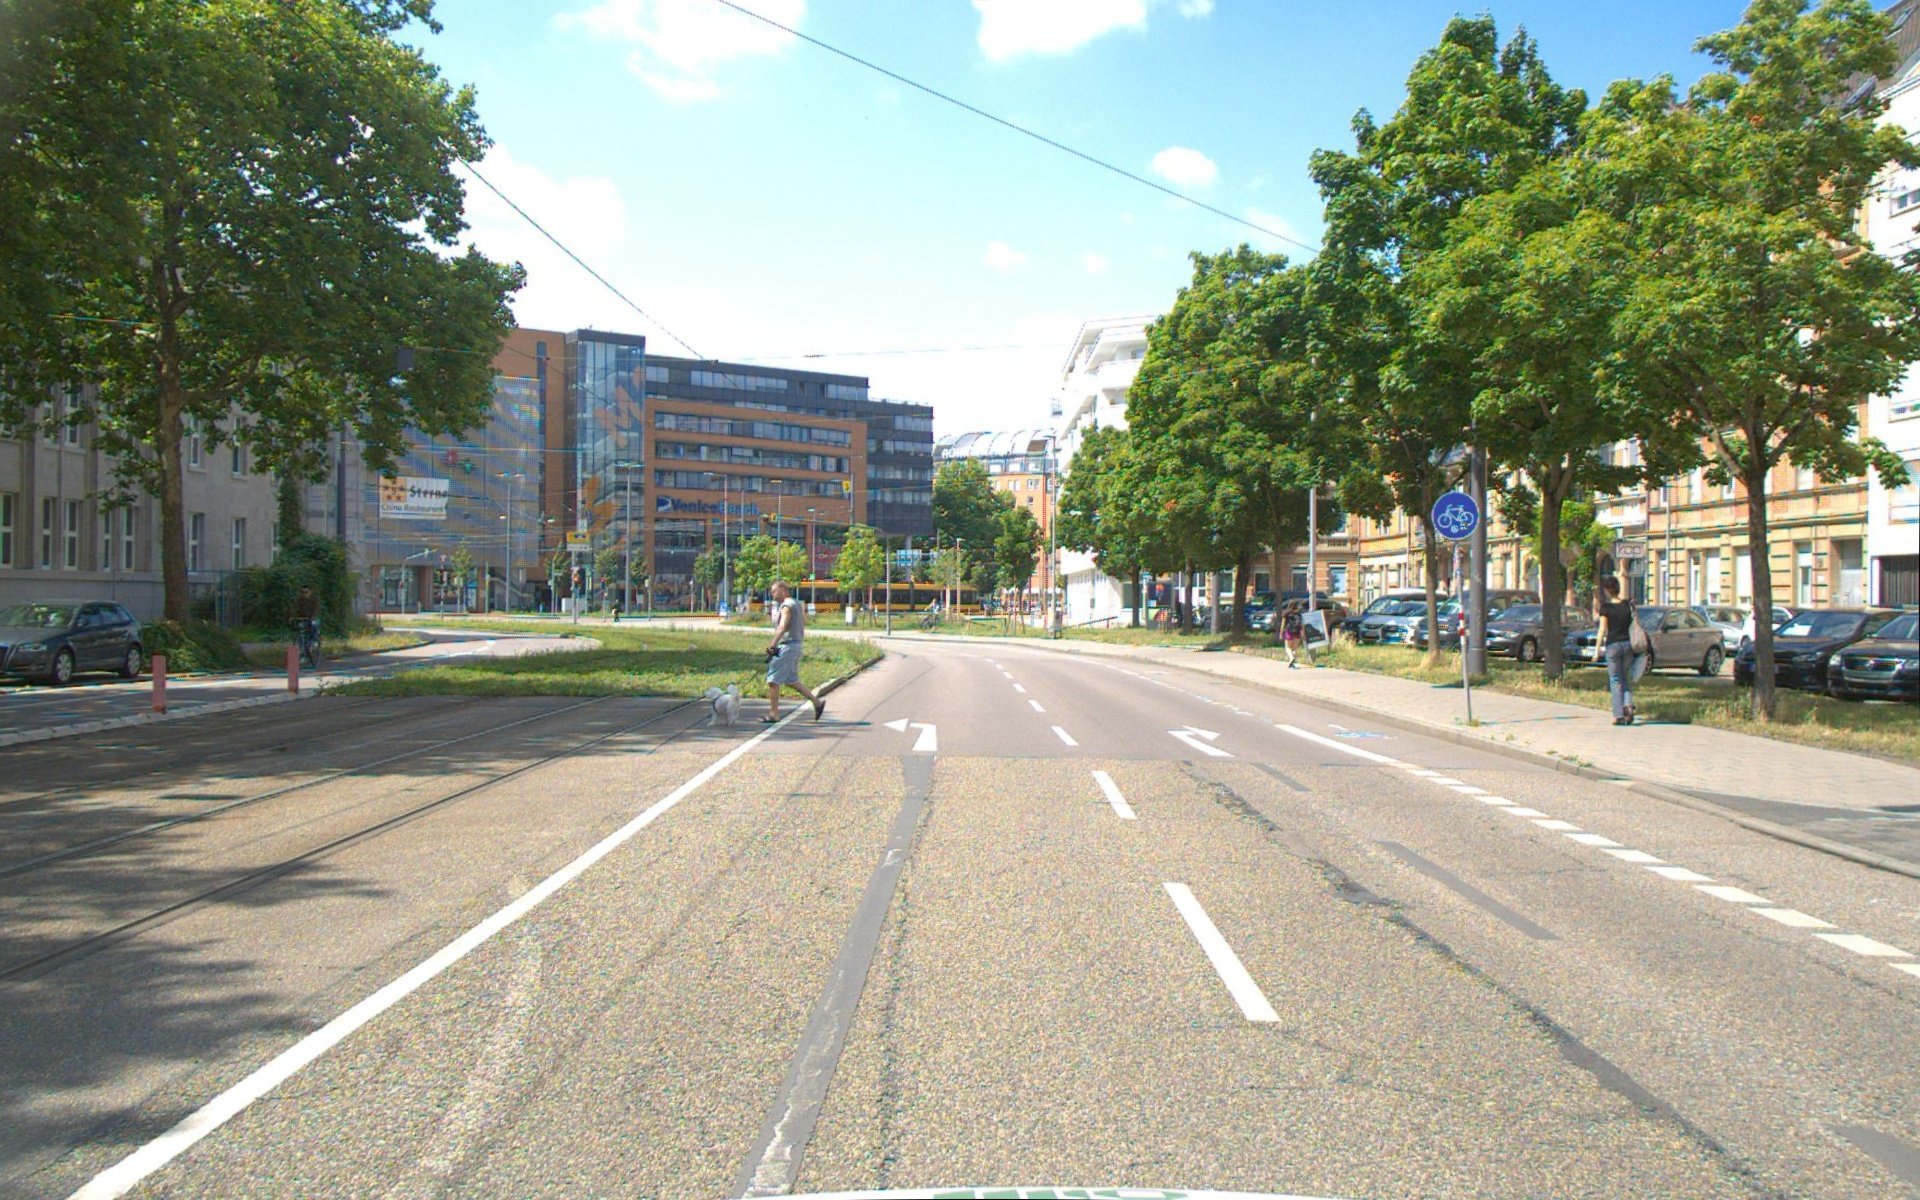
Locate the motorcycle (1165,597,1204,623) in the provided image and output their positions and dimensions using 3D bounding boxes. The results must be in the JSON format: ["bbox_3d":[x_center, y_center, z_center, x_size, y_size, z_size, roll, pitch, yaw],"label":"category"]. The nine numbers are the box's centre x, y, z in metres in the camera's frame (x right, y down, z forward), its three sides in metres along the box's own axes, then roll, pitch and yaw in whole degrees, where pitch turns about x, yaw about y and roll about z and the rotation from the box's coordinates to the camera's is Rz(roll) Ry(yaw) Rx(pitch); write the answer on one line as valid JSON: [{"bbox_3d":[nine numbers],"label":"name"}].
[{"bbox_3d":[10.756,0.479,79.303,1.747,1.187,0.639,1,0,-2],"label":"motorcycle"}]

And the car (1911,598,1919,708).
[{"bbox_3d":[14.193,0.727,20.765,3.933,1.378,1.948,2,0,-23],"label":"car"}]

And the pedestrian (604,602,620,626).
[{"bbox_3d":[-26.329,1.051,125.203,0.897,1.732,0.808,0,1,24],"label":"pedestrian"}]

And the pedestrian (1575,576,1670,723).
[{"bbox_3d":[8.060,0.586,20.158,0.686,1.734,1.044,-2,0,-1],"label":"pedestrian"}]

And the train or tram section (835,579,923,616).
[{"bbox_3d":[-8.545,-0.277,176.398,3.005,3.666,10.946,1,0,37],"label":"train or tram section"}]

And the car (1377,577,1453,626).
[{"bbox_3d":[21.624,0.079,78.814,2.067,2.216,5.393,2,0,0],"label":"car"}]

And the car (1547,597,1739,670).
[{"bbox_3d":[14.332,0.716,34.631,4.223,1.404,1.828,2,0,-37],"label":"car"}]

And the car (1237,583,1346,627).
[{"bbox_3d":[13.578,0.203,67.720,4.112,1.685,1.900,2,0,-28],"label":"car"}]

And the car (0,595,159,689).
[{"bbox_3d":[-15.985,0.672,28.992,1.887,1.393,4.316,2,1,-2],"label":"car"}]

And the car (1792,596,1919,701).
[{"bbox_3d":[14.335,0.714,24.453,3.951,1.404,1.939,2,0,-34],"label":"car"}]

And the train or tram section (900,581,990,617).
[{"bbox_3d":[-1.574,-0.050,185.999,3.005,3.684,12.584,1,0,36],"label":"train or tram section"}]

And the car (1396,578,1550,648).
[{"bbox_3d":[13.977,0.357,44.962,4.319,1.771,1.828,2,0,-37],"label":"car"}]

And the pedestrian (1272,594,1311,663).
[{"bbox_3d":[7.893,0.671,39.431,0.686,1.620,0.905,2,0,-1],"label":"pedestrian"}]

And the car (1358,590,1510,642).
[{"bbox_3d":[13.995,0.481,48.750,4.639,1.404,1.830,2,0,-35],"label":"car"}]

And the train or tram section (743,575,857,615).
[{"bbox_3d":[-15.945,-0.474,166.582,3.164,3.662,13.441,1,0,37],"label":"train or tram section"}]

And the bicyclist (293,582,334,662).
[{"bbox_3d":[-14.331,0.478,36.679,0.749,1.734,0.779,2,0,-18],"label":"bicyclist"}]

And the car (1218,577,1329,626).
[{"bbox_3d":[13.426,0.060,70.707,4.569,1.961,1.896,2,0,-32],"label":"car"}]

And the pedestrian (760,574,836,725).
[{"bbox_3d":[-1.921,0.579,19.703,0.765,1.734,0.702,2,0,1],"label":"pedestrian"}]

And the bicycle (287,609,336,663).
[{"bbox_3d":[-14.324,0.780,36.599,0.778,1.129,2.266,2,0,-16],"label":"bicycle"}]

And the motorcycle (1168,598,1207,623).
[{"bbox_3d":[10.773,0.494,78.421,1.747,1.187,0.639,1,0,-2],"label":"motorcycle"}]

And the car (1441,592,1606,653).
[{"bbox_3d":[13.991,0.570,41.009,4.223,1.404,1.828,2,0,-37],"label":"car"}]

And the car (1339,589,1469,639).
[{"bbox_3d":[13.970,0.451,51.982,4.039,1.430,1.829,2,0,-36],"label":"car"}]

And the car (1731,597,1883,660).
[{"bbox_3d":[22.197,0.706,43.539,1.794,1.518,4.226,2,0,0],"label":"car"}]

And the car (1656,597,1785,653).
[{"bbox_3d":[22.177,0.706,48.414,1.794,1.518,4.226,2,0,0],"label":"car"}]

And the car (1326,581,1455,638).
[{"bbox_3d":[14.381,0.318,55.165,4.095,1.771,1.833,2,0,-32],"label":"car"}]

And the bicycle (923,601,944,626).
[{"bbox_3d":[-1.457,0.751,90.716,0.679,1.264,1.841,-1,1,15],"label":"bicycle"}]

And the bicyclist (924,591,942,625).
[{"bbox_3d":[-1.457,0.439,90.752,0.679,1.856,0.957,-1,1,16],"label":"bicyclist"}]

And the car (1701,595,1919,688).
[{"bbox_3d":[14.419,0.691,27.379,3.942,1.404,1.943,2,0,-29],"label":"car"}]

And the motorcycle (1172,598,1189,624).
[{"bbox_3d":[10.091,0.486,75.756,0.624,1.187,1.908,1,0,11],"label":"motorcycle"}]
